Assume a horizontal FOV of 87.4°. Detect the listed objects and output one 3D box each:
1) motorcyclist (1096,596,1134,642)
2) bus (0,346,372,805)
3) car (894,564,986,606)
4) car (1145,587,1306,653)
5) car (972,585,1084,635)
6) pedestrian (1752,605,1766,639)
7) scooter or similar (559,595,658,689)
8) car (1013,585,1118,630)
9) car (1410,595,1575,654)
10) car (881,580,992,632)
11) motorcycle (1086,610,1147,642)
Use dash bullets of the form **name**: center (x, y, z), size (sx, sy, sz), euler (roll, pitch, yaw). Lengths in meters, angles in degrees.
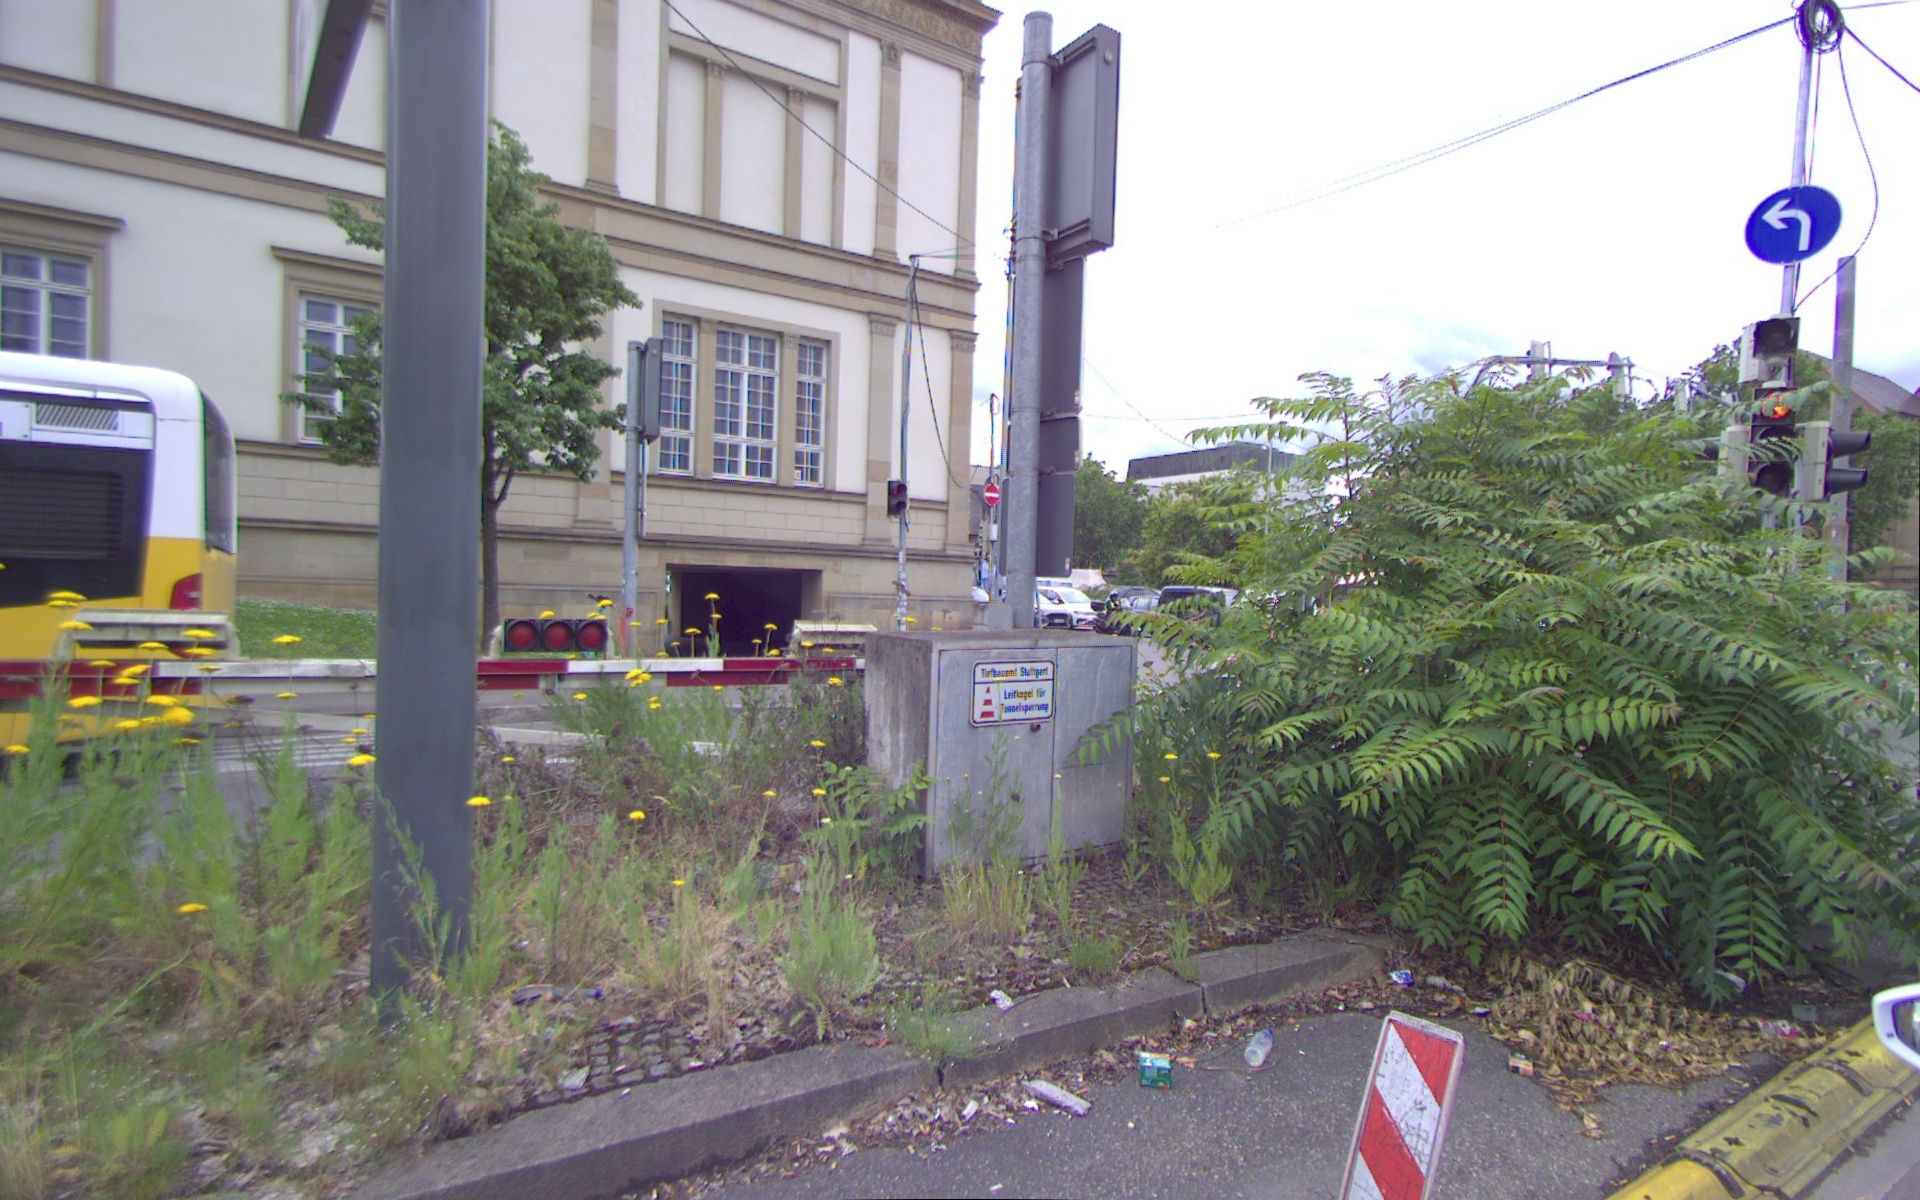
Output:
- **motorcyclist**: center (5.072, 0.610, 32.827), size (0.738, 1.442, 0.959), euler (1, 1, -35)
- **bus**: center (-9.305, -0.233, 6.912), size (9.017, 3.156, 2.831), euler (1, 1, -31)
- **car**: center (-0.929, -0.671, 43.695), size (1.979, 1.698, 4.285), euler (1, 1, -34)
- **car**: center (7.612, 0.523, 29.205), size (1.979, 1.698, 4.285), euler (1, 1, -34)
- **car**: center (2.482, 0.349, 37.667), size (1.979, 1.698, 4.285), euler (1, 1, -34)
- **pedestrian**: center (49.769, 1.367, 62.555), size (0.516, 2.040, 0.428), euler (2, 1, 17)
- **scooter or similar**: center (-4.932, 0.585, 14.145), size (1.132, 1.190, 0.540), euler (6, 0, -10)
- **car**: center (4.254, 0.290, 41.044), size (1.979, 1.698, 4.285), euler (1, 1, -34)
- **car**: center (17.141, 0.736, 32.459), size (1.986, 1.698, 4.271), euler (1, 1, -43)
- **car**: center (-0.897, 0.177, 35.930), size (1.979, 1.698, 4.285), euler (1, 1, -34)
- **motorcycle**: center (5.083, 0.842, 32.663), size (0.749, 0.937, 2.042), euler (1, 1, -35)
